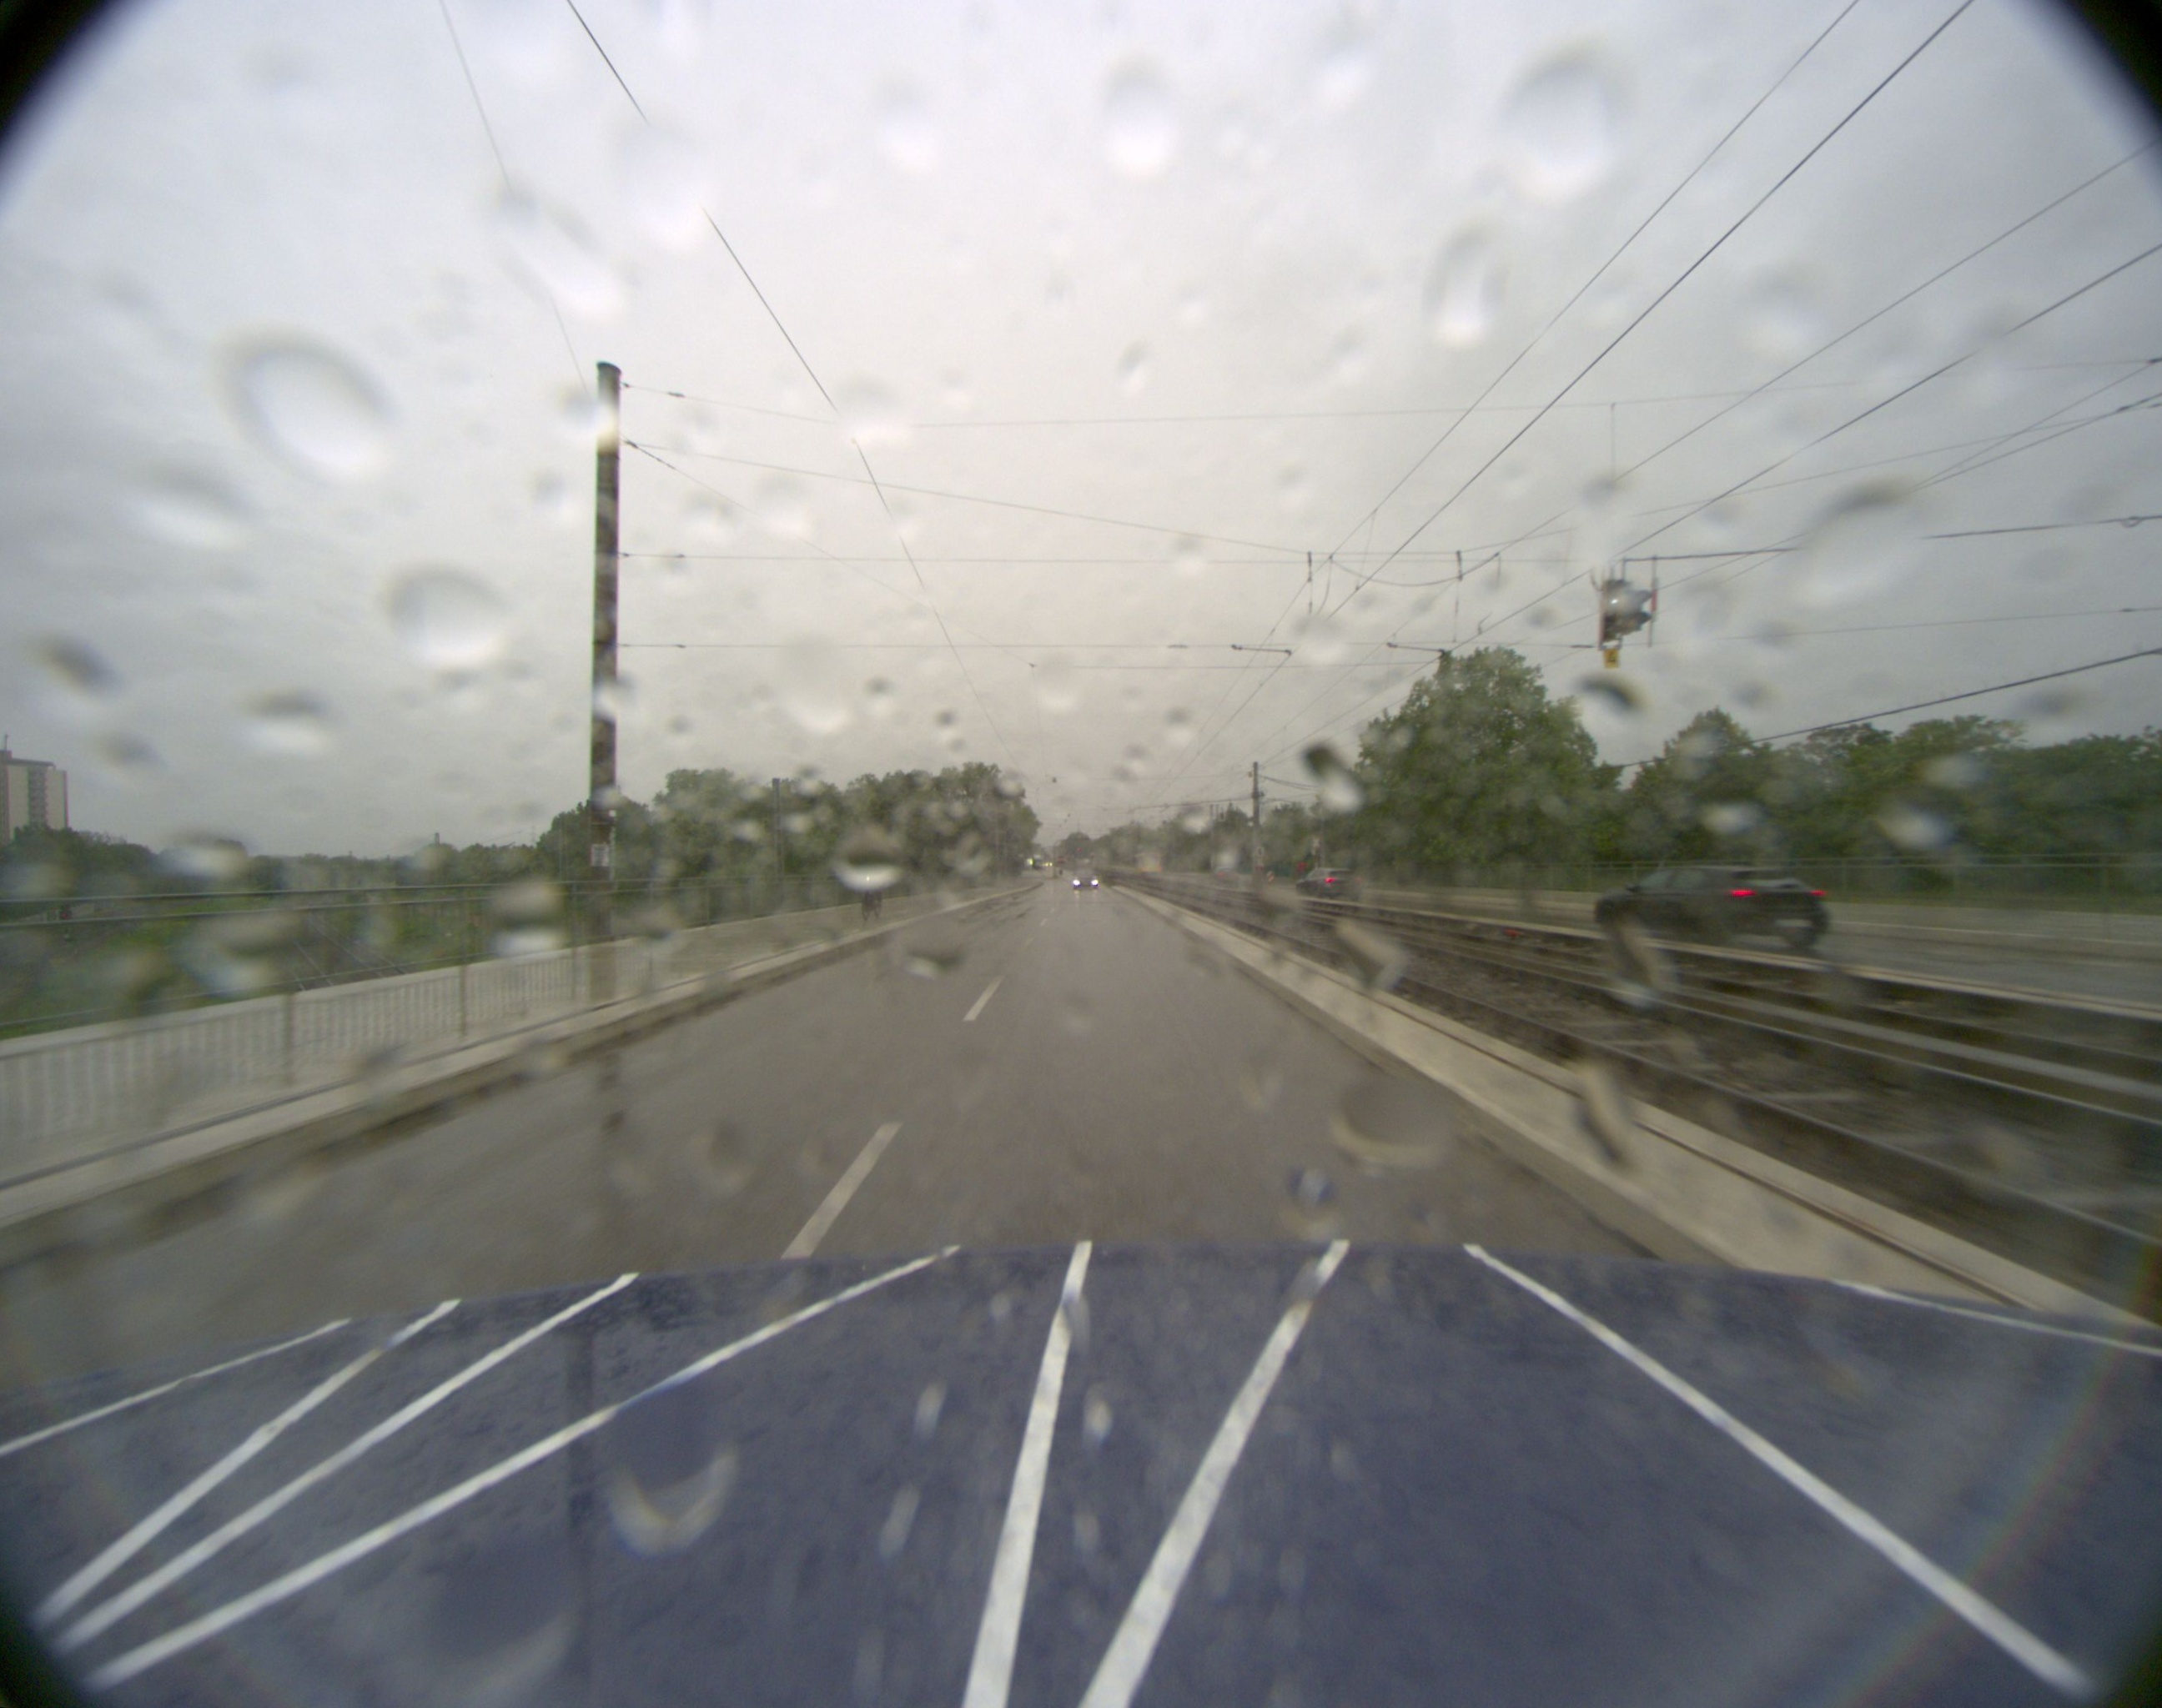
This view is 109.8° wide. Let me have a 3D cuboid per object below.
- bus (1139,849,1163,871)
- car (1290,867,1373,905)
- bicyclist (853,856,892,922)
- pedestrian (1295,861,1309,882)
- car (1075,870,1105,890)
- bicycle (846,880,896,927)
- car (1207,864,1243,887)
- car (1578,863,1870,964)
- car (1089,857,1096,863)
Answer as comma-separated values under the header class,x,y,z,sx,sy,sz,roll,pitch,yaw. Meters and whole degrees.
class,x,y,z,sx,sy,sz,roll,pitch,yaw
bus,10.959,1.024,119.670,2.715,3.320,10.996,1,-2,0
car,11.516,1.431,35.380,1.999,1.500,5.111,1,1,-2
bicyclist,-5.757,0.945,20.999,0.727,1.754,0.949,-3,1,1
pedestrian,19.828,1.588,68.204,0.867,1.808,1.042,-3,1,-1
car,0.684,2.073,61.343,1.999,1.497,4.195,-3,-1,-4
bicycle,-5.751,1.332,20.955,0.725,1.122,2.168,-3,0,1
car,11.848,1.727,62.795,1.998,1.707,4.940,1,1,0
car,11.721,0.993,14.317,1.999,1.500,4.091,1,1,0
car,3.744,1.911,249.963,1.999,2.032,5.026,-3,0,-4
